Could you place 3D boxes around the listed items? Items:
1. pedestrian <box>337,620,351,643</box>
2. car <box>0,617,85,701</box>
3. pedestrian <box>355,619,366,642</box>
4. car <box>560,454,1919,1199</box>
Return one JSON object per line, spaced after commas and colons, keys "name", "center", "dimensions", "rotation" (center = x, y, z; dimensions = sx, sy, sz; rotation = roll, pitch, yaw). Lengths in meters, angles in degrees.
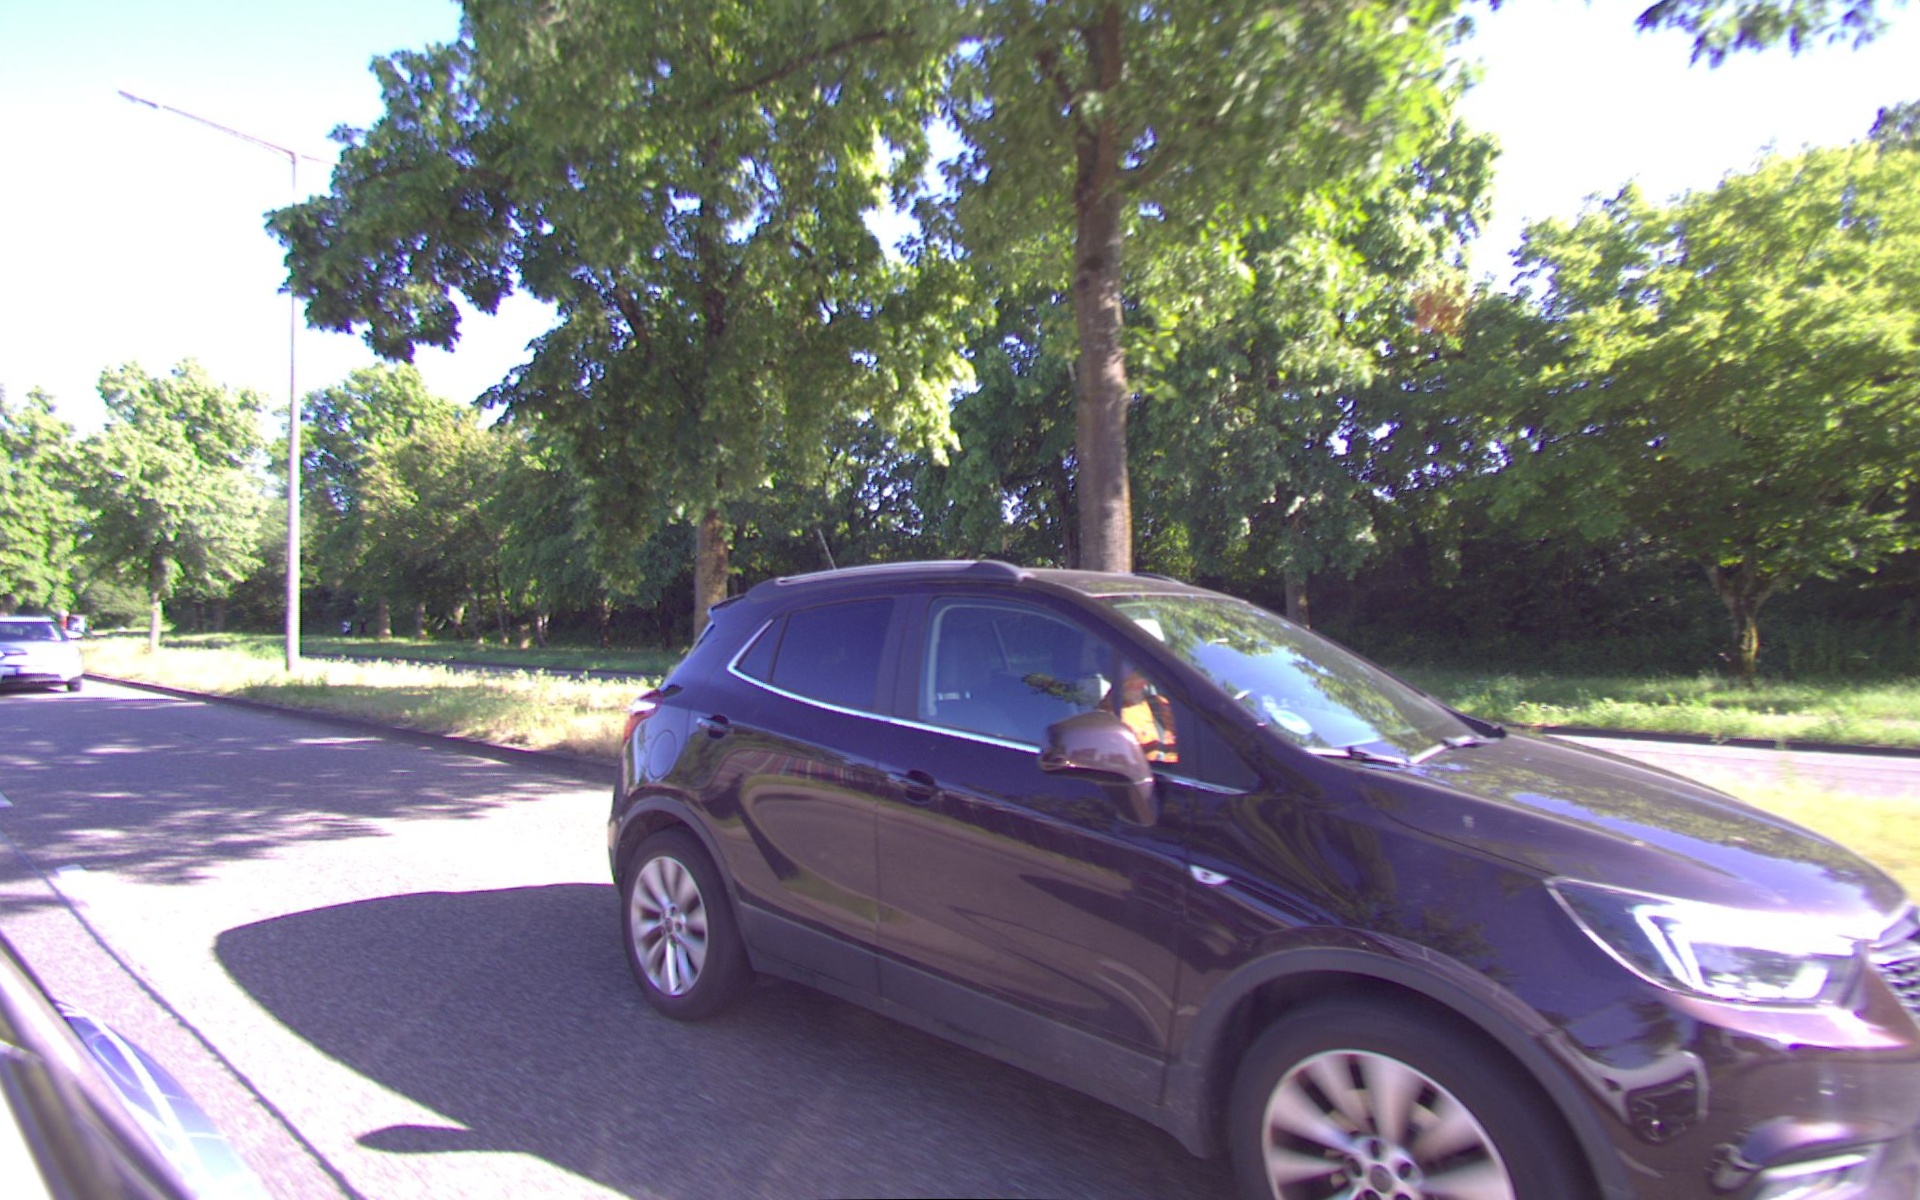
{"name": "pedestrian", "center": [-45.617, 2.336, 74.929], "dimensions": [0.680, 1.672, 0.674], "rotation": [0, 2, 44]}
{"name": "car", "center": [-20.044, 1.190, 21.399], "dimensions": [4.104, 1.622, 1.766], "rotation": [-1, -2, 41]}
{"name": "pedestrian", "center": [-44.803, 2.262, 75.598], "dimensions": [0.541, 1.672, 0.553], "rotation": [-1, 0, 45]}
{"name": "car", "center": [0.604, 0.649, 3.214], "dimensions": [4.415, 1.644, 1.678], "rotation": [-1, -1, 41]}
